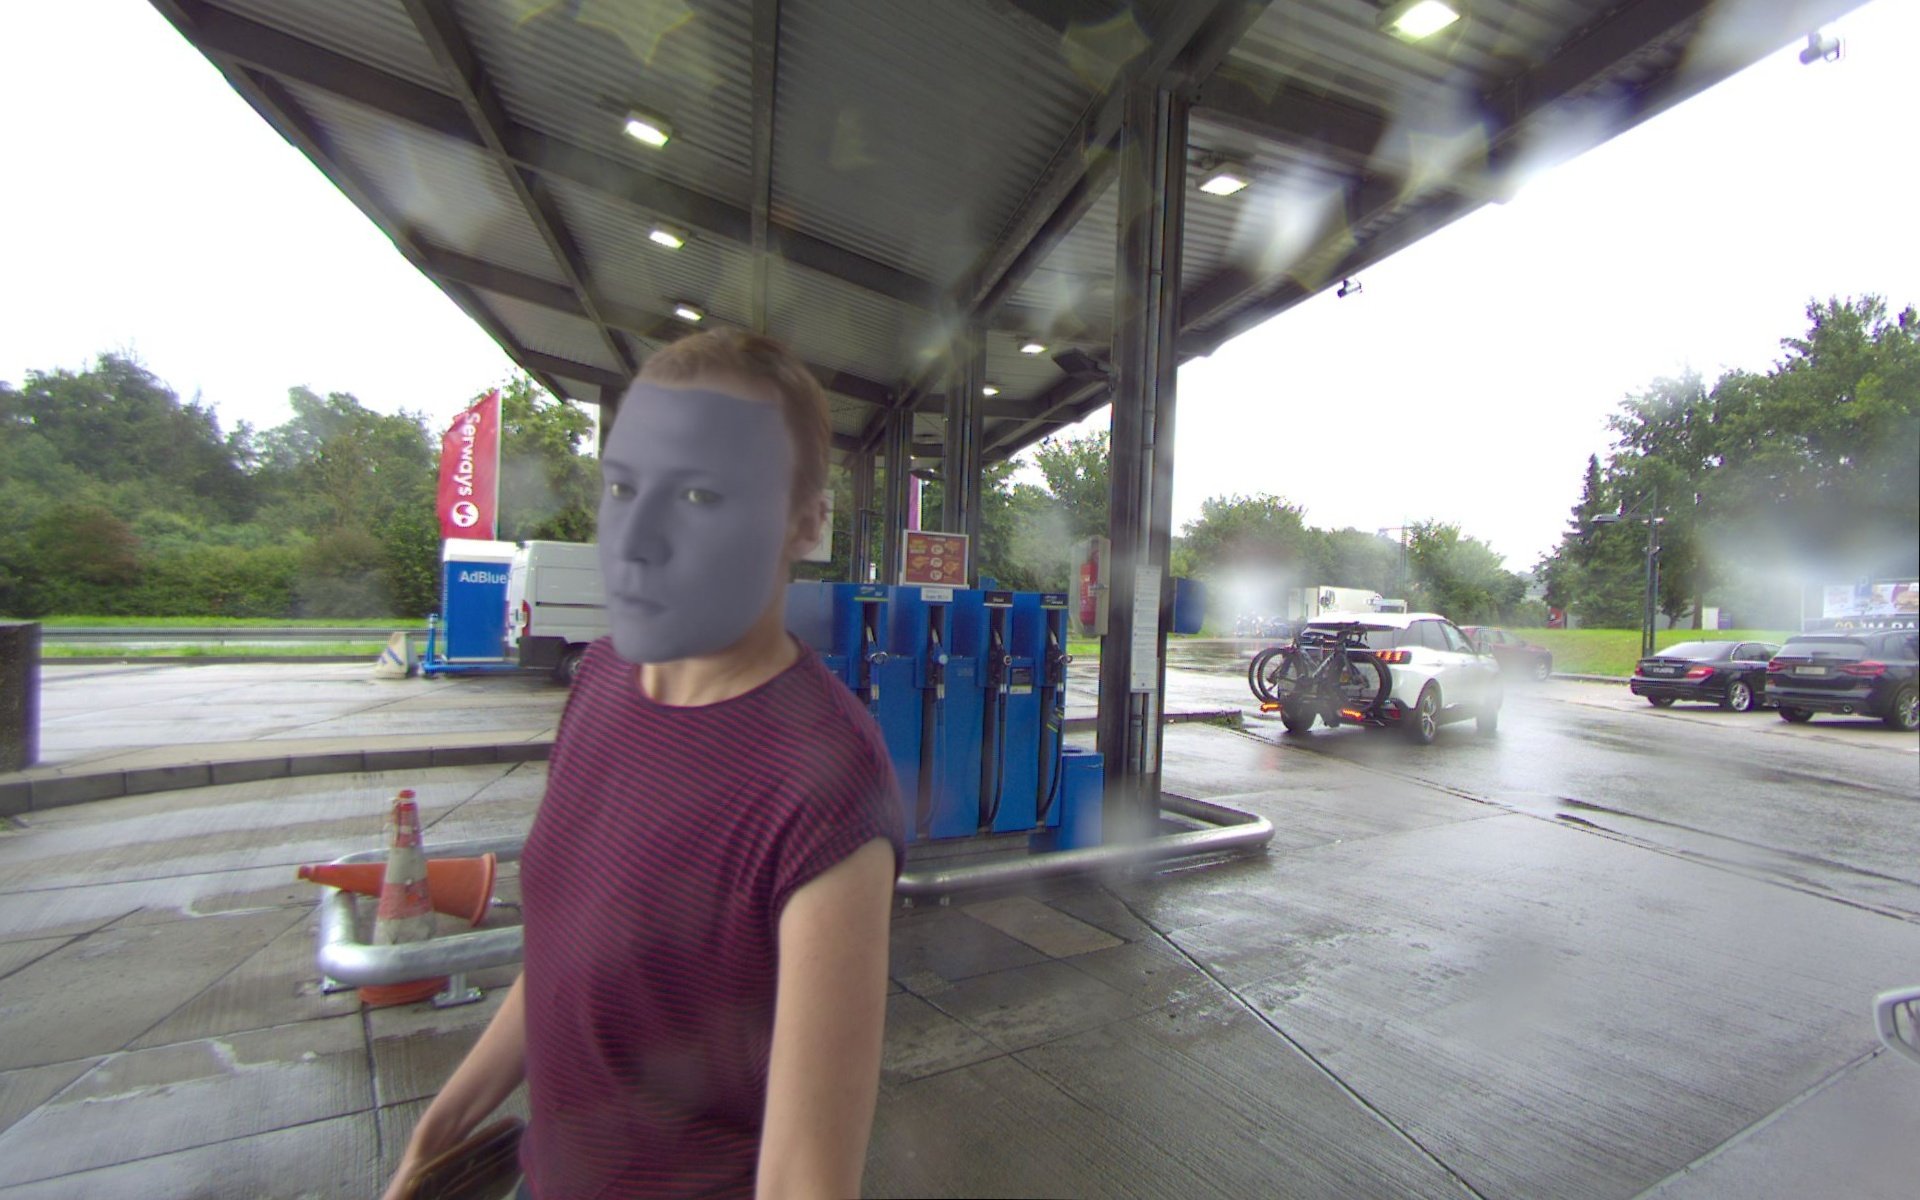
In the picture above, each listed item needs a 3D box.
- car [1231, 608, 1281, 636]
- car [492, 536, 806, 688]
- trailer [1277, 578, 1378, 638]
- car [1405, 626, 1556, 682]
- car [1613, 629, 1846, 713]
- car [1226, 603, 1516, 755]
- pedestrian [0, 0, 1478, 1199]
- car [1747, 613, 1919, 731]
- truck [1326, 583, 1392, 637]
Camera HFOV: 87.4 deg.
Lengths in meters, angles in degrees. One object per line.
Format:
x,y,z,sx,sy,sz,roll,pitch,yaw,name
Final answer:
20.911,1.558,70.847,1.903,1.862,4.373,1,0,38,car
-5.782,0.267,18.957,5.227,2.496,2.306,1,-1,-34,car
30.903,0.752,83.855,3.416,4.618,13.847,2,0,40,trailer
16.069,1.647,31.004,4.294,1.617,1.879,1,-1,-24,car
15.930,1.416,20.823,4.119,1.585,1.883,1,-1,-19,car
5.509,0.883,13.047,1.795,1.586,4.974,1,0,43,car
-0.240,0.369,0.748,0.830,1.757,0.790,2,-1,-31,pedestrian
16.143,1.188,17.403,4.344,1.852,1.883,1,-1,-19,car
35.576,0.923,89.459,3.416,4.618,6.704,2,0,40,truck
